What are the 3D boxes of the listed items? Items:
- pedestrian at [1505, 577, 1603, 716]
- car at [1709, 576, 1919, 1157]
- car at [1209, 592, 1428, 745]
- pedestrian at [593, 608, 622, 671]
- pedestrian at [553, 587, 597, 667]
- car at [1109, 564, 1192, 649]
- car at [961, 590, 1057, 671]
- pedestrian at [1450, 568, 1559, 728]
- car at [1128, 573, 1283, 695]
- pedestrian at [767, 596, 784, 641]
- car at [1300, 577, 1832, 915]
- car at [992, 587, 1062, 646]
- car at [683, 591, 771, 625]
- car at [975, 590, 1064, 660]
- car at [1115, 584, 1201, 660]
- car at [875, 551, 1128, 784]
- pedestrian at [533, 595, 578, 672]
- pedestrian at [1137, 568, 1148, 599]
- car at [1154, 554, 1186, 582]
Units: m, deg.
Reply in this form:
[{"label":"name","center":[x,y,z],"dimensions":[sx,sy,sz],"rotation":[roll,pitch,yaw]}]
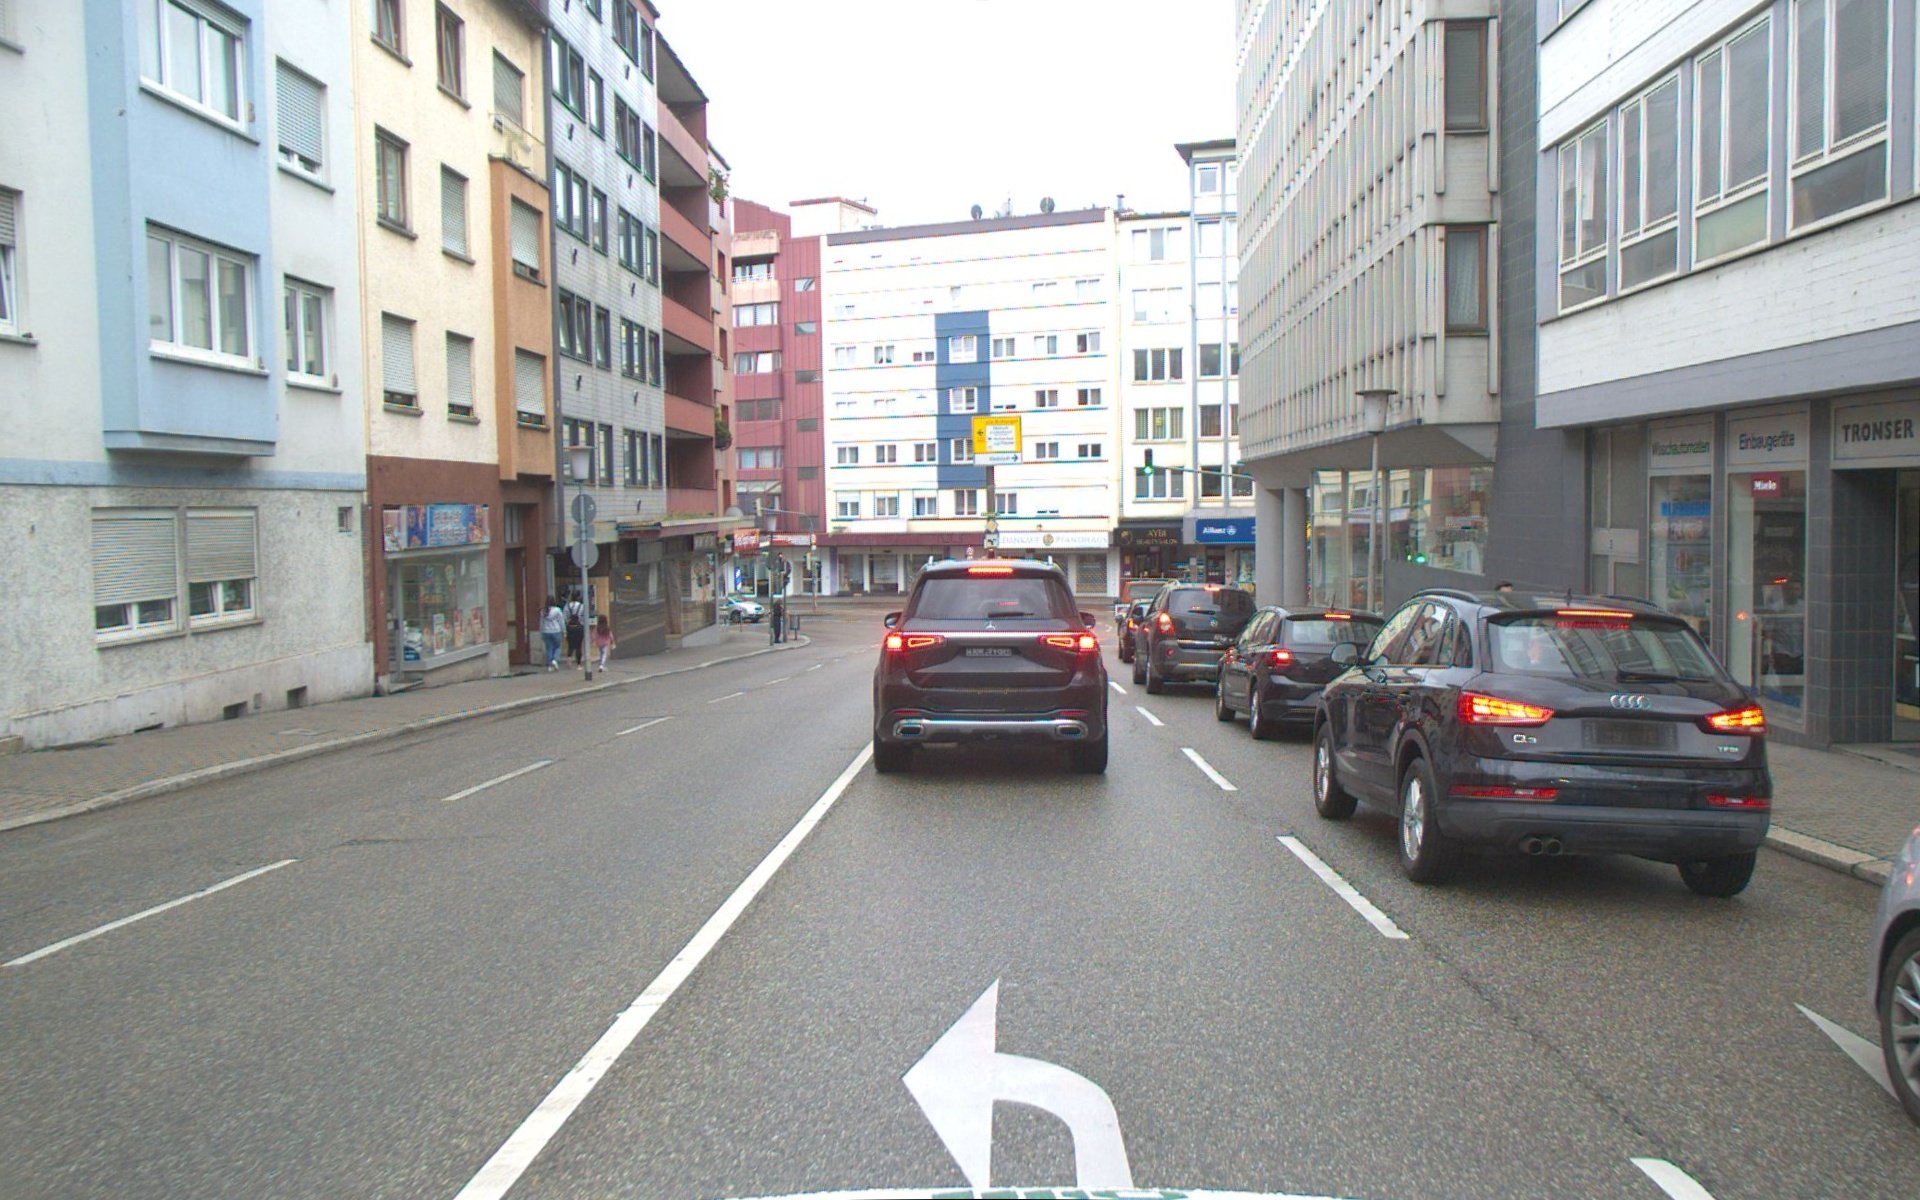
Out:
[{"label":"pedestrian","center":[7.102,0.548,19.806],"dimensions":[0.750,1.578,0.890],"rotation":[-3,0,-1]},{"label":"car","center":[3.531,0.766,3.551],"dimensions":[1.789,1.568,4.251],"rotation":[3,0,-1]},{"label":"car","center":[4.023,0.702,19.169],"dimensions":[1.654,1.503,4.000],"rotation":[2,0,1]},{"label":"pedestrian","center":[-7.696,0.864,36.138],"dimensions":[0.523,1.346,0.723],"rotation":[1,0,-7]},{"label":"pedestrian","center":[-8.393,0.588,36.104],"dimensions":[0.811,1.719,0.722],"rotation":[1,0,-7]},{"label":"car","center":[5.384,0.171,47.012],"dimensions":[2.195,2.267,5.432],"rotation":[1,0,6]},{"label":"car","center":[0.967,0.575,33.997],"dimensions":[1.835,1.521,4.401],"rotation":[0,0,1]},{"label":"pedestrian","center":[6.212,0.532,18.912],"dimensions":[0.768,1.735,1.121],"rotation":[-3,0,-1]},{"label":"car","center":[3.838,0.482,26.586],"dimensions":[1.858,1.724,4.506],"rotation":[2,0,1]},{"label":"pedestrian","center":[-7.044,0.702,63.129],"dimensions":[0.543,1.727,0.624],"rotation":[-1,0,-1]},{"label":"car","center":[3.382,0.708,10.154],"dimensions":[1.785,1.587,4.202],"rotation":[2,0,1]},{"label":"car","center":[1.910,0.494,47.234],"dimensions":[1.885,1.542,4.663],"rotation":[1,-1,2]},{"label":"car","center":[-11.810,0.409,83.809],"dimensions":[4.074,1.620,1.742],"rotation":[1,1,18]},{"label":"car","center":[1.402,0.545,38.719],"dimensions":[1.952,1.512,4.238],"rotation":[-1,0,2]},{"label":"car","center":[4.631,0.511,39.263],"dimensions":[1.785,1.687,4.497],"rotation":[1,0,4]},{"label":"car","center":[0.358,0.514,15.416],"dimensions":[1.997,1.830,4.663],"rotation":[0,0,1]},{"label":"pedestrian","center":[-8.533,0.702,34.897],"dimensions":[0.811,1.588,0.722],"rotation":[1,0,-7]},{"label":"pedestrian","center":[10.467,-0.938,94.889],"dimensions":[0.552,1.717,0.757],"rotation":[-1,6,8]},{"label":"car","center":[13.662,-2.058,107.358],"dimensions":[1.758,1.699,4.004],"rotation":[-1,0,11]}]
